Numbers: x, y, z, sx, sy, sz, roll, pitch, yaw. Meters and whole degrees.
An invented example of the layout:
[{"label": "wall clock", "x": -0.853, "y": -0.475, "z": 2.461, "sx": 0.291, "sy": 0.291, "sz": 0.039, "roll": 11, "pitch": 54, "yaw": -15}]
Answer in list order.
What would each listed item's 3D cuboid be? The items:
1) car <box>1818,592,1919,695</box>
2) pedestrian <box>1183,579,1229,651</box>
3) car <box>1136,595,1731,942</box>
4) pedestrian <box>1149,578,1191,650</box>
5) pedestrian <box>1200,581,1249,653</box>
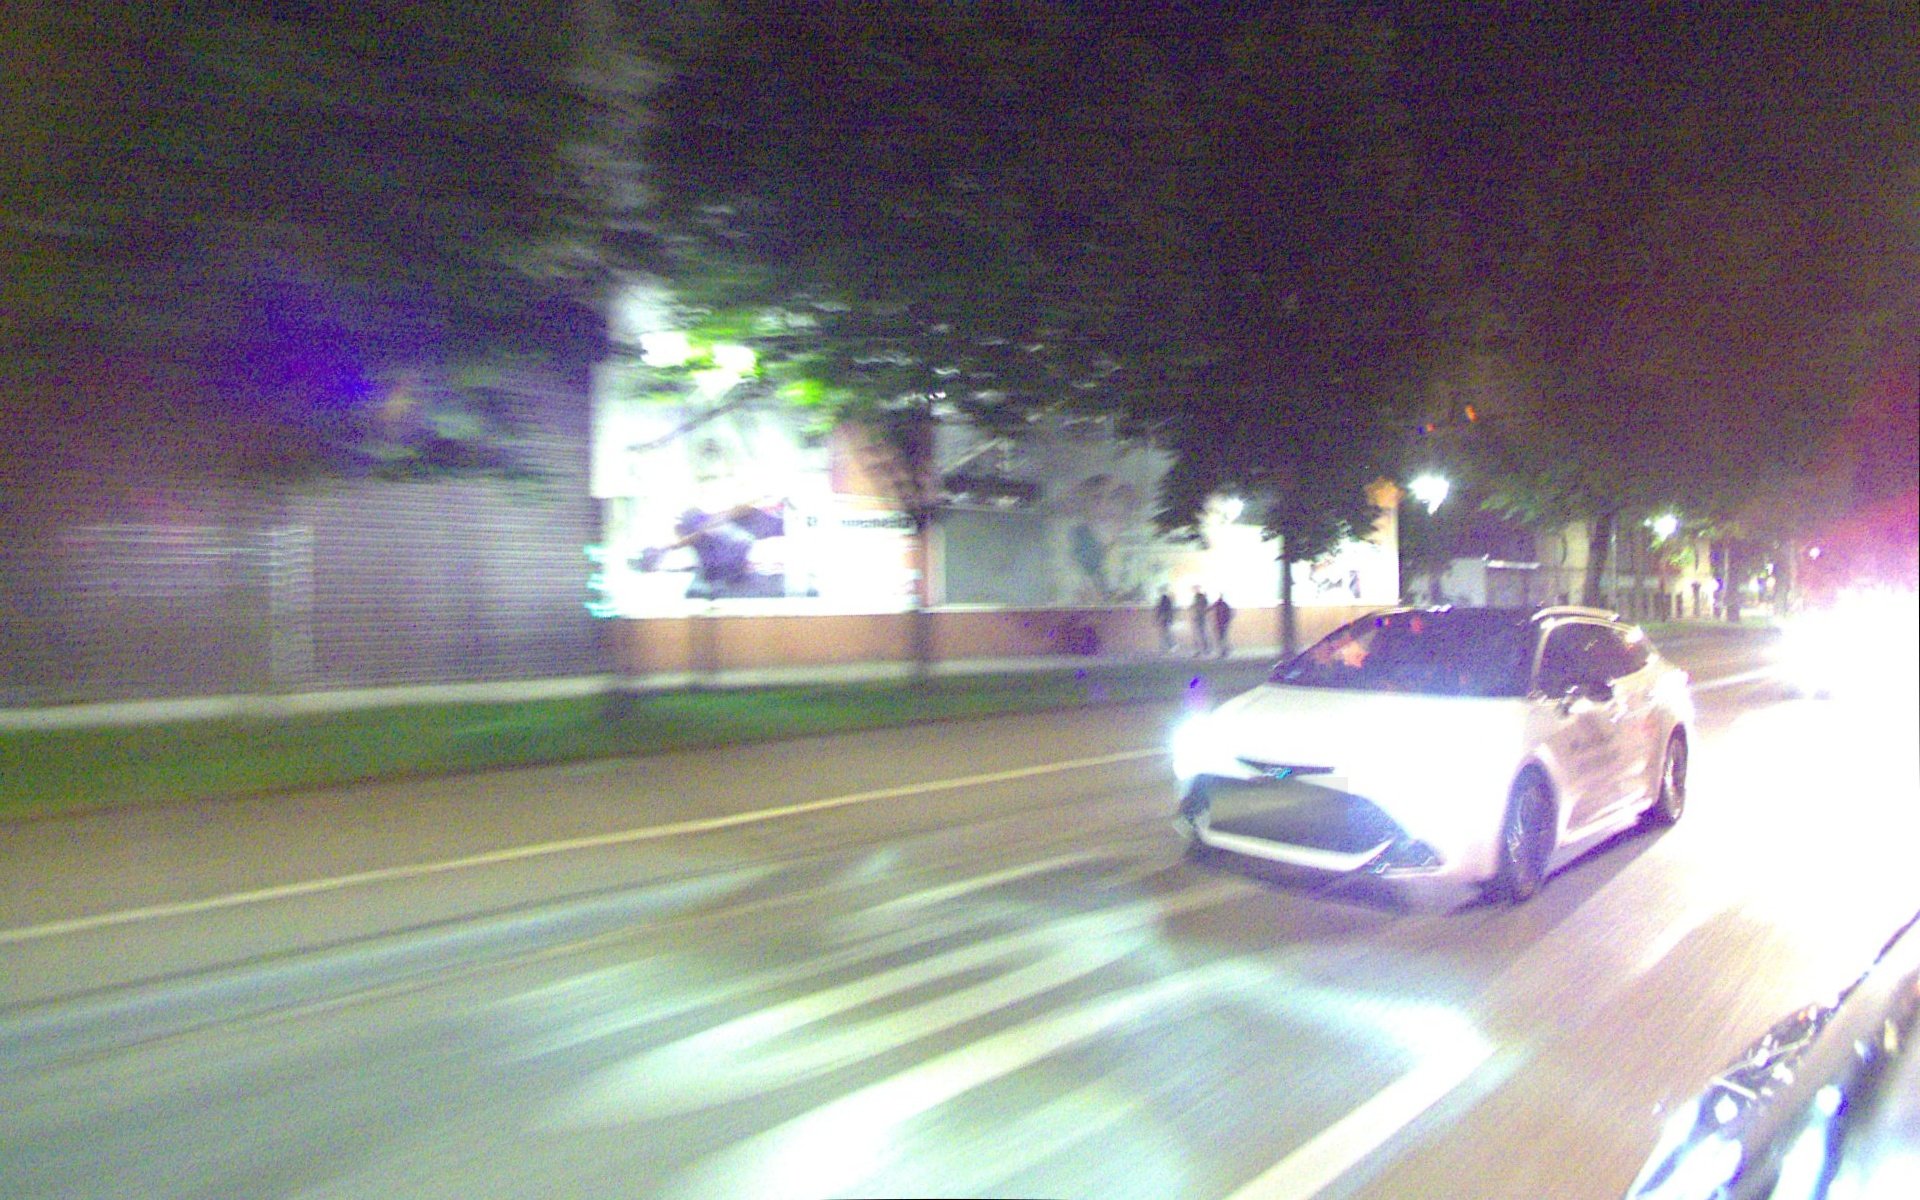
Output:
[{"label": "car", "x": 14.909, "y": 0.616, "z": 15.910, "sx": 3.774, "sy": 1.457, "sz": 1.632, "roll": -1, "pitch": -1, "yaw": -42}, {"label": "pedestrian", "x": 6.300, "y": 0.364, "z": 25.940, "sx": 0.953, "sy": 1.811, "sz": 0.720, "roll": 0, "pitch": 0, "yaw": -40}, {"label": "car", "x": 3.206, "y": 0.713, "z": 6.369, "sx": 4.419, "sy": 1.448, "sz": 1.727, "roll": 0, "pitch": -1, "yaw": -41}, {"label": "pedestrian", "x": 5.479, "y": 0.359, "z": 26.436, "sx": 0.890, "sy": 1.840, "sz": 0.675, "roll": 0, "pitch": 0, "yaw": -40}, {"label": "pedestrian", "x": 6.553, "y": 0.412, "z": 25.069, "sx": 0.968, "sy": 1.738, "sz": 0.736, "roll": 0, "pitch": 0, "yaw": -40}]
